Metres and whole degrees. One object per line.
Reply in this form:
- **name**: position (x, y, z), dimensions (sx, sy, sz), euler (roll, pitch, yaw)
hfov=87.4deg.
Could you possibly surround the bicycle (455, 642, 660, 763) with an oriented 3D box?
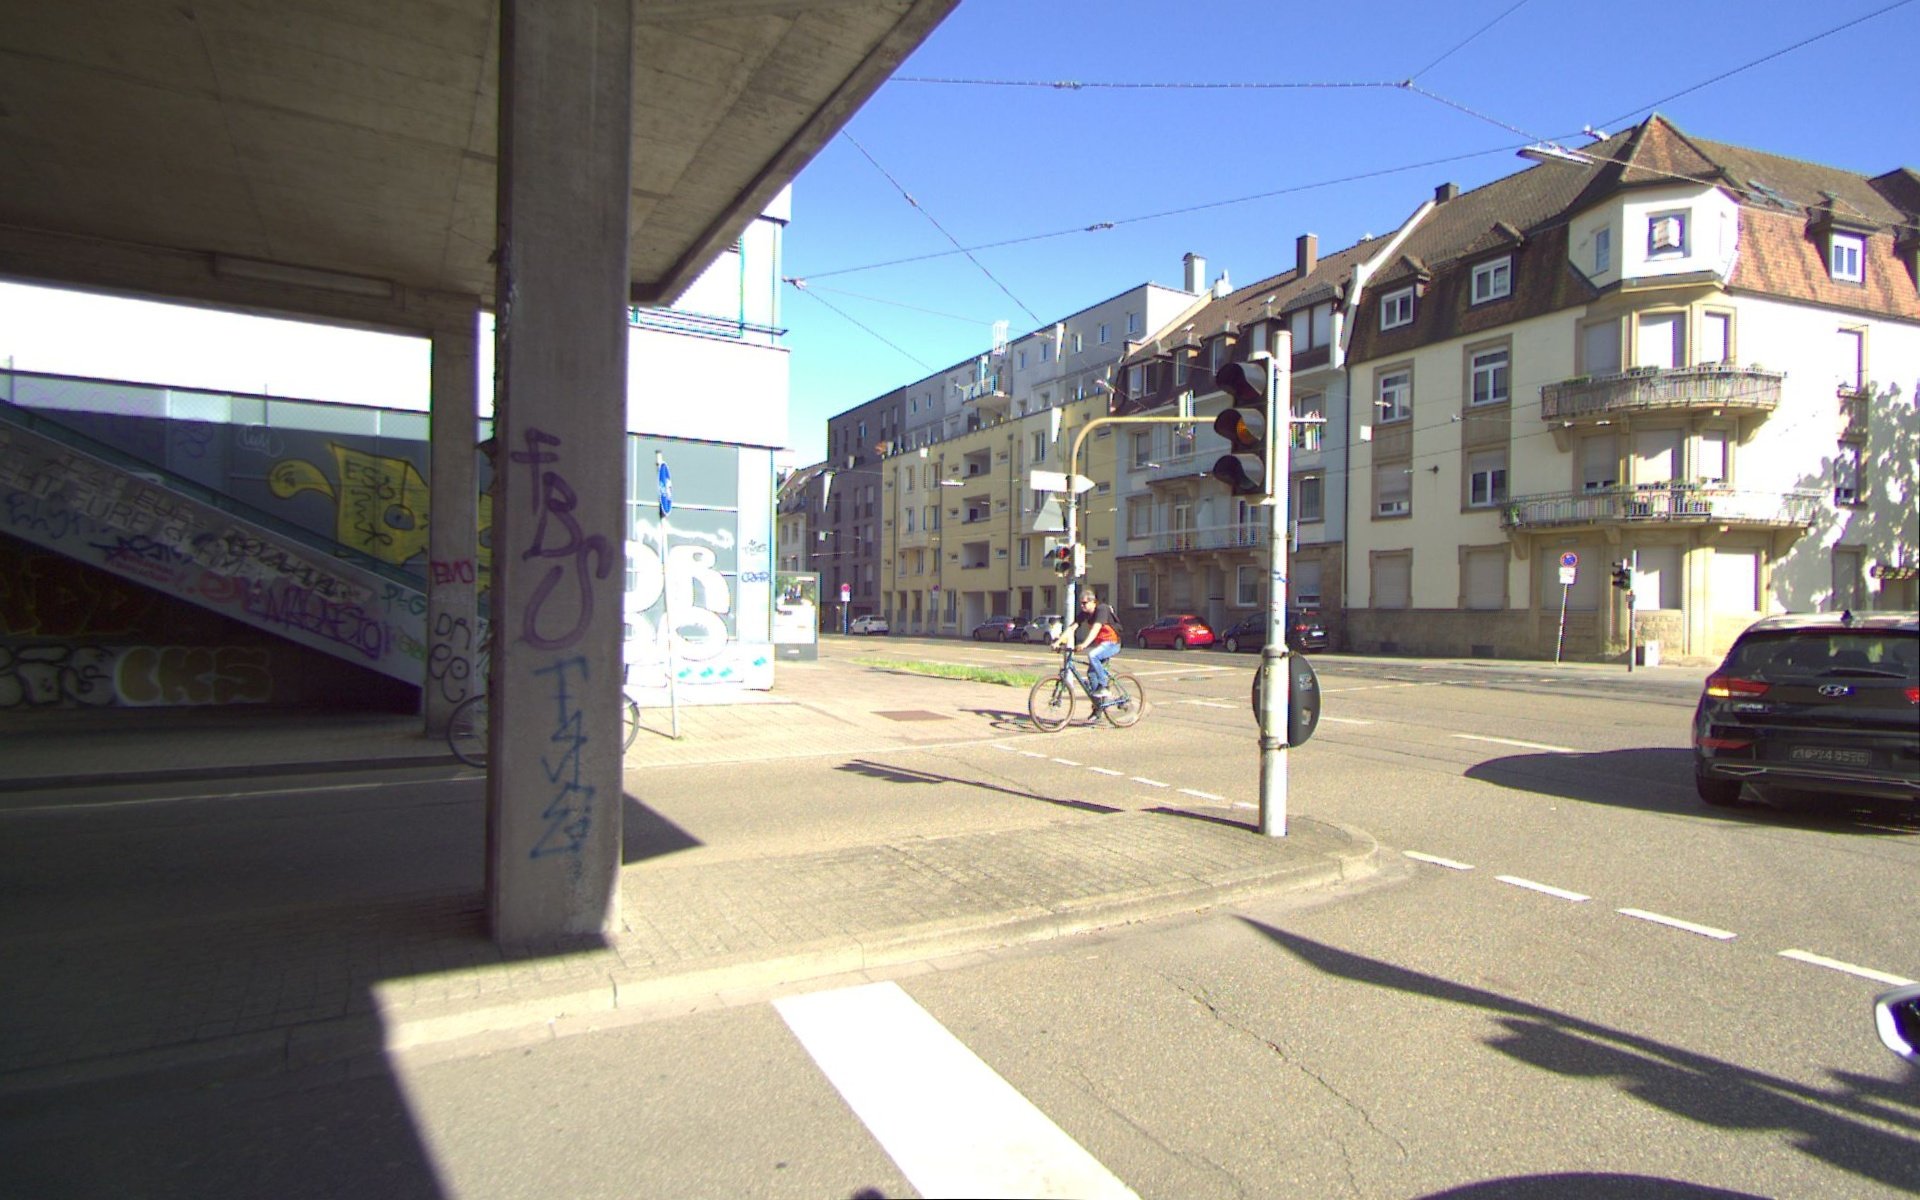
- **bicycle**: position (-3.998, 0.987, 10.042), dimensions (1.838, 1.105, 0.523), euler (1, -1, -30)

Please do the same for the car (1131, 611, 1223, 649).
- **car**: position (9.416, 1.253, 43.793), dimensions (1.875, 1.561, 3.862), euler (0, 0, -28)

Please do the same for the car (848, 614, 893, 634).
- **car**: position (-6.458, 1.735, 72.227), dimensions (1.939, 1.381, 3.814), euler (0, -1, -27)

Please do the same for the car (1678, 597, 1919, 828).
- **car**: position (7.467, 0.713, 8.121), dimensions (4.292, 1.470, 1.785), euler (0, 0, -41)

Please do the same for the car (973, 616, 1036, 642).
- **car**: position (2.446, 1.585, 56.150), dimensions (1.939, 1.381, 3.814), euler (0, -1, -27)

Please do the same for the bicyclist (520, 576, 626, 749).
- **bicyclist**: position (-3.890, 0.612, 10.097), dimensions (0.899, 1.654, 0.603), euler (1, -1, -30)

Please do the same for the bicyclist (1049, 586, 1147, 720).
- **bicyclist**: position (1.815, 0.680, 13.244), dimensions (1.018, 1.682, 0.779), euler (1, -1, -28)

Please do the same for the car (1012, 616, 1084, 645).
- **car**: position (4.536, 1.556, 52.260), dimensions (1.975, 1.381, 3.814), euler (0, -1, -27)

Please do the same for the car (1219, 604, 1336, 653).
- **car**: position (12.170, 1.069, 38.747), dimensions (1.938, 1.747, 4.143), euler (0, 0, -28)

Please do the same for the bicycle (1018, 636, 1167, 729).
- **bicycle**: position (1.766, 1.050, 13.243), dimensions (2.033, 1.138, 0.539), euler (1, -1, -28)
